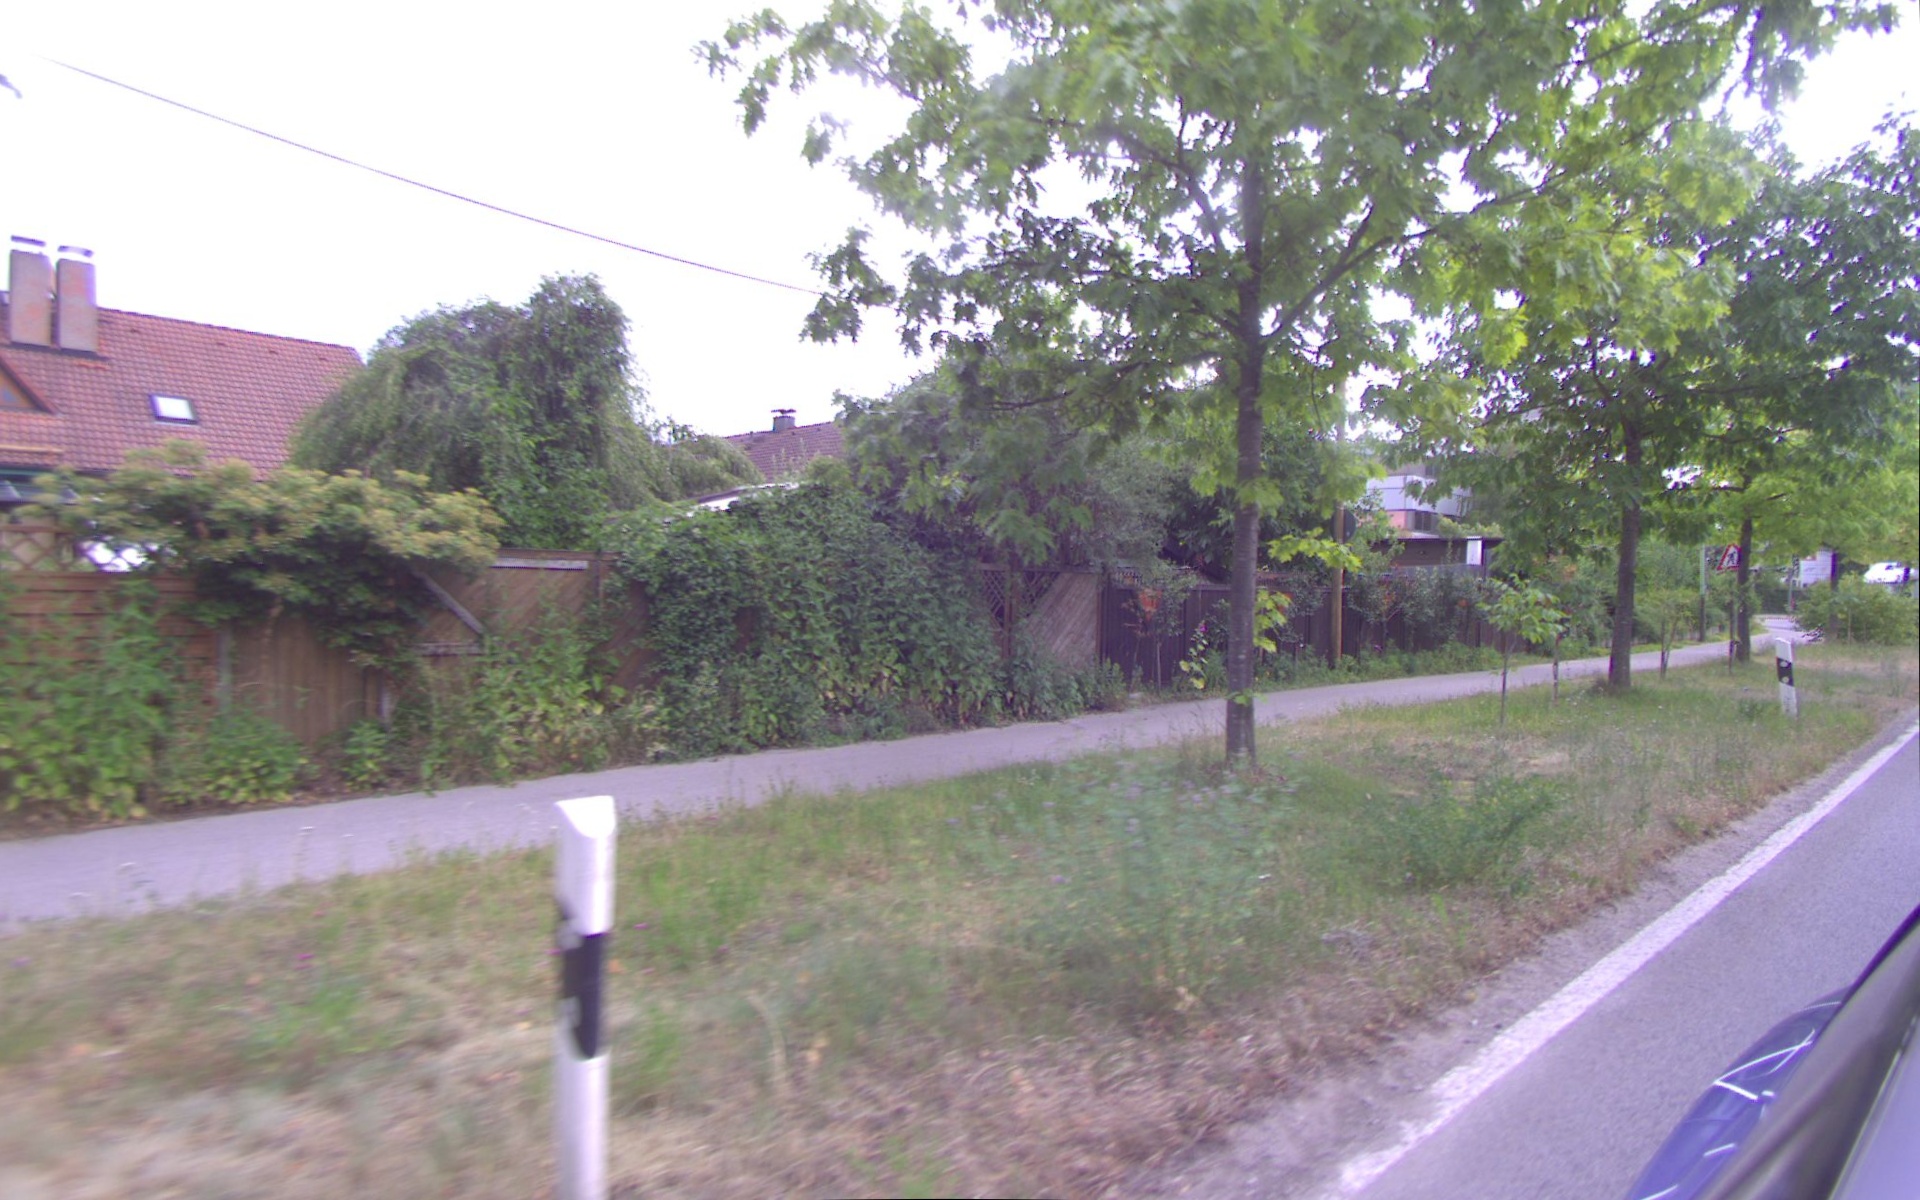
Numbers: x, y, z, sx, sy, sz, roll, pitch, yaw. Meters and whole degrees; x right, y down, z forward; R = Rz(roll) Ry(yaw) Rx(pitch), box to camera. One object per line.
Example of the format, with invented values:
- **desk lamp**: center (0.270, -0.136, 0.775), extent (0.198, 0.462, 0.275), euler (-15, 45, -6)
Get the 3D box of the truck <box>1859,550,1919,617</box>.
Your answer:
- **truck**: center (52.469, -0.861, 54.759), extent (7.349, 3.491, 2.621), euler (0, 0, -21)
